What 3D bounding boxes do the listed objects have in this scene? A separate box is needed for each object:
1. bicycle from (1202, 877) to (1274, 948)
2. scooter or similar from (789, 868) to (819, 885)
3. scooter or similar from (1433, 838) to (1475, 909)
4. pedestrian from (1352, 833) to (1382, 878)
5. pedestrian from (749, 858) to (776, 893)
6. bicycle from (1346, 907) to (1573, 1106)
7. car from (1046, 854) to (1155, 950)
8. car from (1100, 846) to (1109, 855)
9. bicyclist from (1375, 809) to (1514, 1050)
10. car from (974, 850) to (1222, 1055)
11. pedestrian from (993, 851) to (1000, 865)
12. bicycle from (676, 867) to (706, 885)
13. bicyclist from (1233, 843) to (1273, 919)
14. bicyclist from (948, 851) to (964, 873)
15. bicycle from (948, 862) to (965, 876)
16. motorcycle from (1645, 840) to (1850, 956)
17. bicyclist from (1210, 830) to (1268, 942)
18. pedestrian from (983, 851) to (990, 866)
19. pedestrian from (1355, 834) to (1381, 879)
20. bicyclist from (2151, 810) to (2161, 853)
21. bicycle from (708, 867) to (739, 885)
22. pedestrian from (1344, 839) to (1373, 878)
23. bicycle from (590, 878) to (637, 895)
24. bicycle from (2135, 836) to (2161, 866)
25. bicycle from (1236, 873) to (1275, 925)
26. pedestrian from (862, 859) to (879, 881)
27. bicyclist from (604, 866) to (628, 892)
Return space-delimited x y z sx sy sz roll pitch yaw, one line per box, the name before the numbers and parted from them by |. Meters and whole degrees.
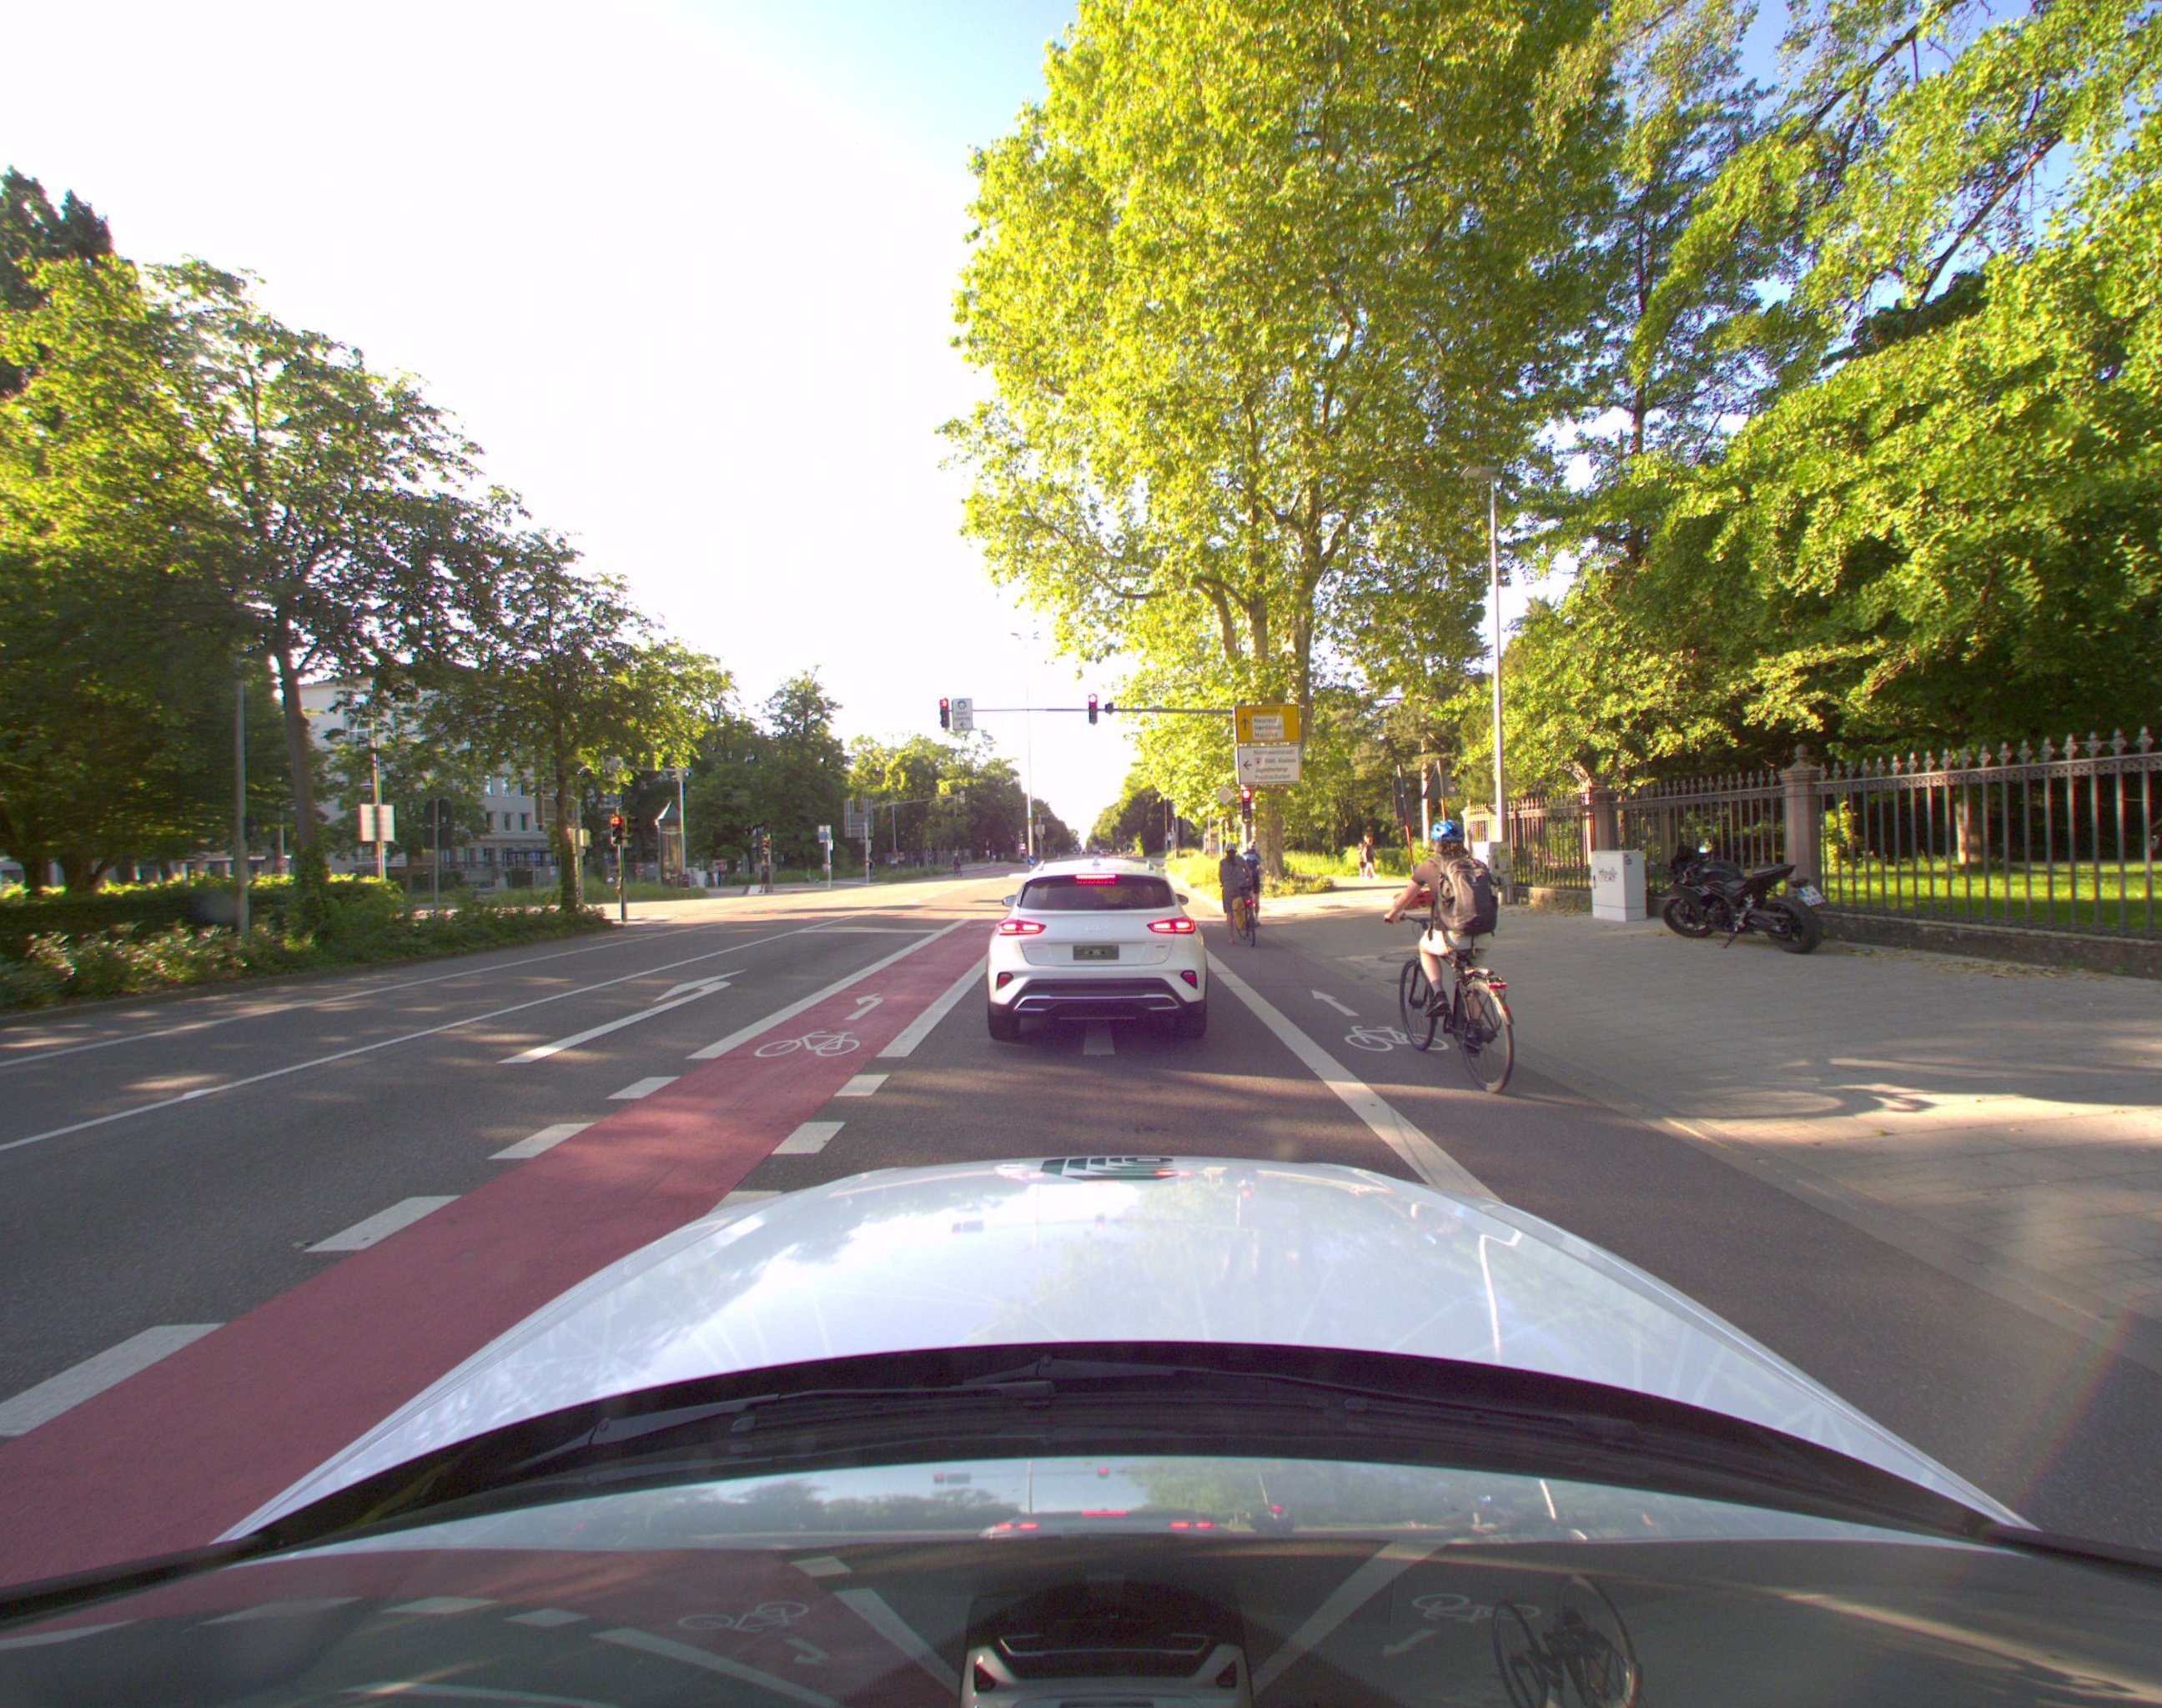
bicycle | 2.619 0.941 13.863 0.755 1.013 2.569 0 0 0
scooter or similar | -19.191 1.530 56.455 0.703 1.124 1.933 -1 0 34
scooter or similar | 7.211 0.360 15.773 0.227 1.327 1.172 -3 0 0
pedestrian | 11.558 0.067 32.935 0.816 1.771 0.831 -3 0 -5
pedestrian | -18.732 1.250 47.887 0.990 2.014 1.193 -1 -1 7
bicycle | 2.557 0.965 5.815 0.666 1.009 2.081 -1 0 0
car | 0.323 0.780 15.077 1.723 1.483 3.516 -3 0 0
car | 5.382 -0.848 185.278 1.986 2.013 4.002 -3 0 2
bicyclist | 2.555 0.501 5.788 0.663 1.602 0.721 -1 0 0
car | 0.145 0.728 8.058 1.815 1.480 3.936 -1 0 0
pedestrian | -10.991 0.541 106.002 0.782 1.785 0.751 -1 -1 2
bicycle | -26.363 1.498 55.055 1.850 1.148 0.444 -1 -1 9
bicyclist | 3.525 0.540 16.707 0.552 1.478 0.717 -5 -1 0
bicyclist | -9.391 0.605 61.072 0.871 1.608 1.189 -3 0 4
bicycle | -9.348 1.098 61.288 0.660 0.989 2.507 -3 0 4
motorcycle | 7.451 0.444 9.269 0.504 1.131 2.170 -4 0 0
bicyclist | 2.616 0.511 13.610 0.750 1.795 1.165 0 0 0
pedestrian | -12.274 0.594 105.652 0.637 2.014 0.756 -1 -1 14
pedestrian | 11.115 0.079 31.549 0.688 1.699 0.643 -3 0 -5
bicyclist | 36.100 -0.754 26.839 0.774 1.431 0.670 -1 -1 29
bicycle | -23.991 1.451 54.684 1.859 1.148 0.290 -1 -1 -6
pedestrian | 11.031 0.176 32.357 0.815 1.518 0.916 -1 -1 0
bicycle | -30.723 2.142 53.537 2.695 0.989 0.581 -3 0 2
bicycle | 36.089 -0.109 26.828 1.601 1.015 0.478 -1 -1 28
bicycle | 3.556 0.903 16.719 0.400 0.956 1.551 -5 0 0
pedestrian | -16.512 1.248 63.955 1.086 1.603 0.999 -3 0 -5
bicyclist | -30.553 1.631 53.529 0.971 1.606 0.878 -3 0 2
